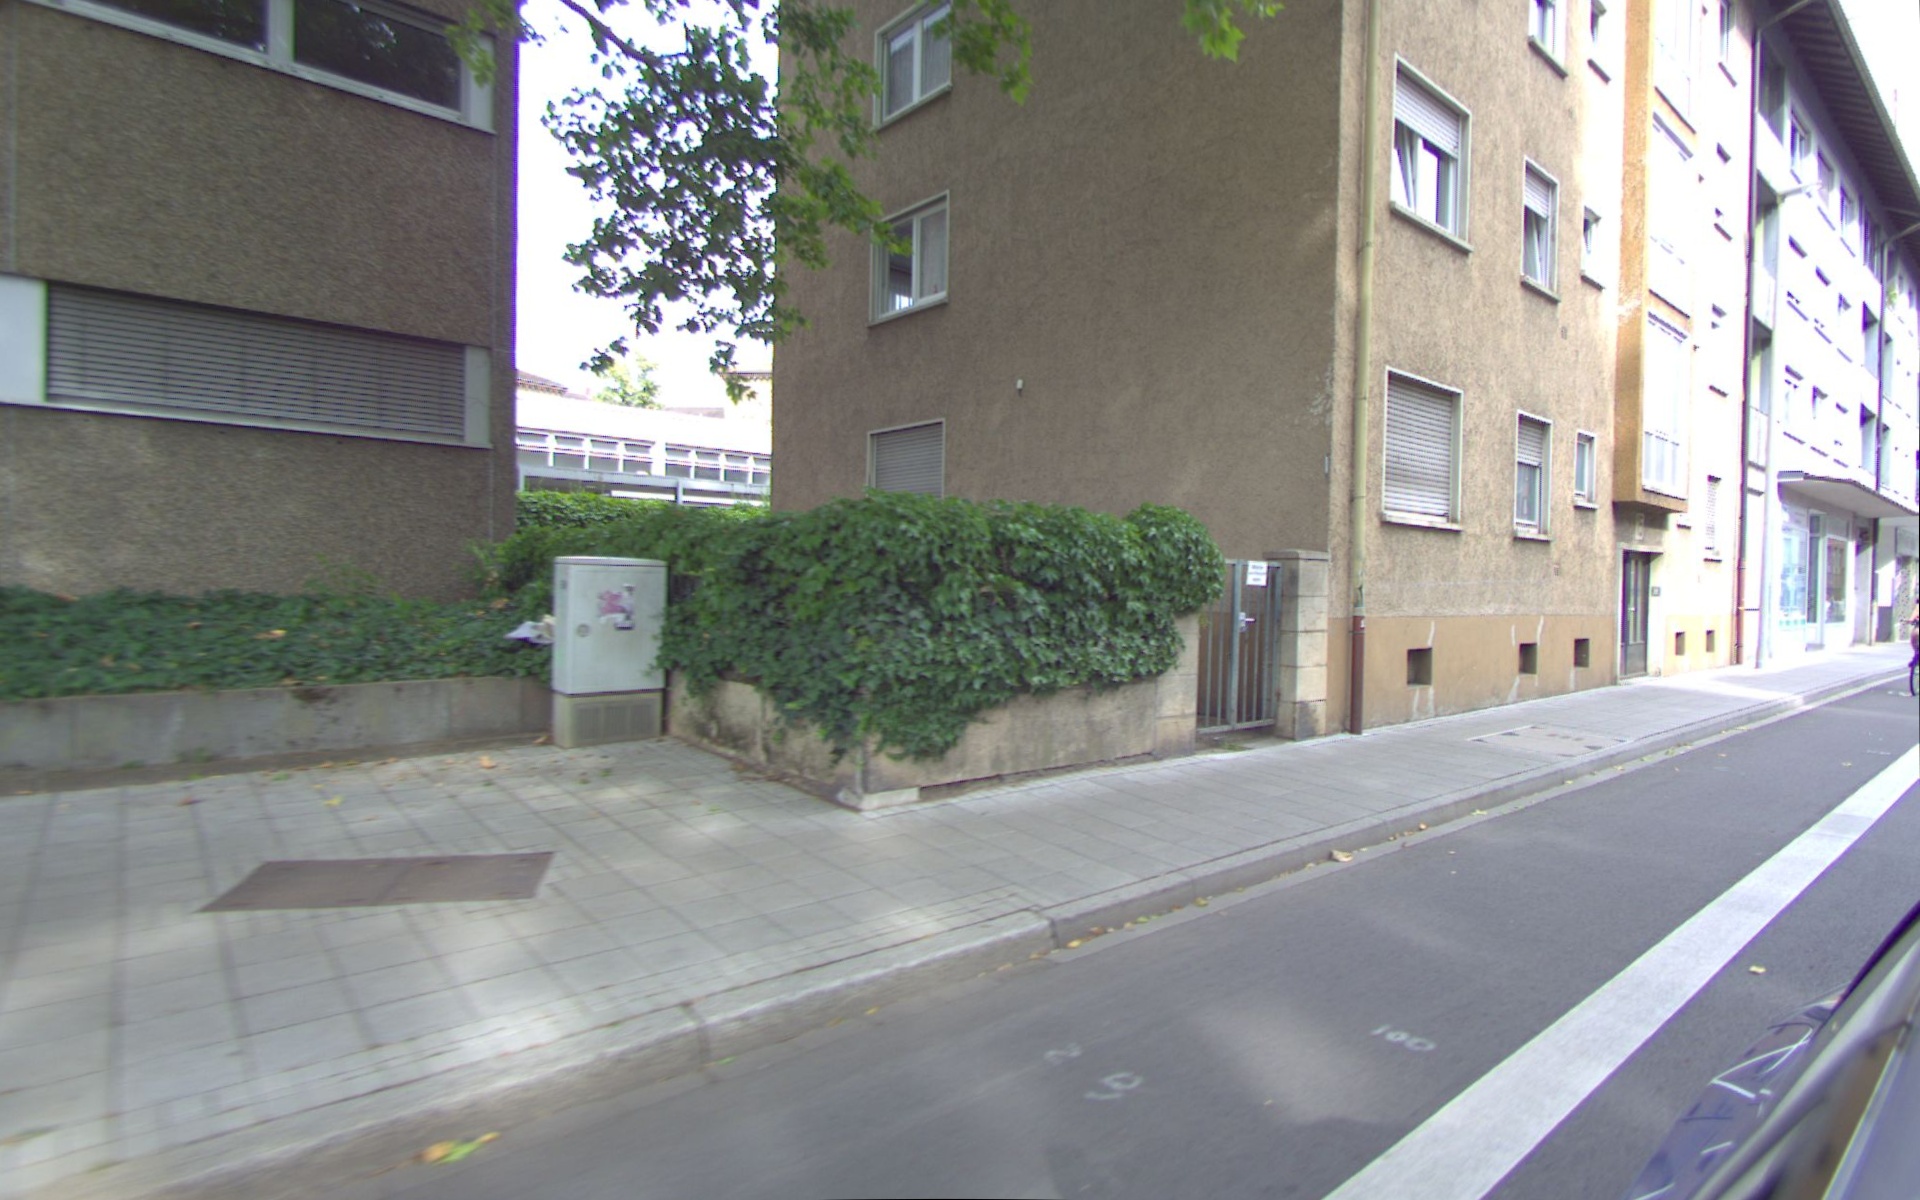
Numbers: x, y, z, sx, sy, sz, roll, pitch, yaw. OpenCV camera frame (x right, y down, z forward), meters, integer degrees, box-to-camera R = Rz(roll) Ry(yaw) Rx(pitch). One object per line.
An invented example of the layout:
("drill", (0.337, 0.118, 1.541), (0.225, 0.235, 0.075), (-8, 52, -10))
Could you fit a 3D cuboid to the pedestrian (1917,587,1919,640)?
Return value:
("pedestrian", (31.080, 0.440, 32.358), (0.928, 1.689, 0.605), (1, 0, -42))
